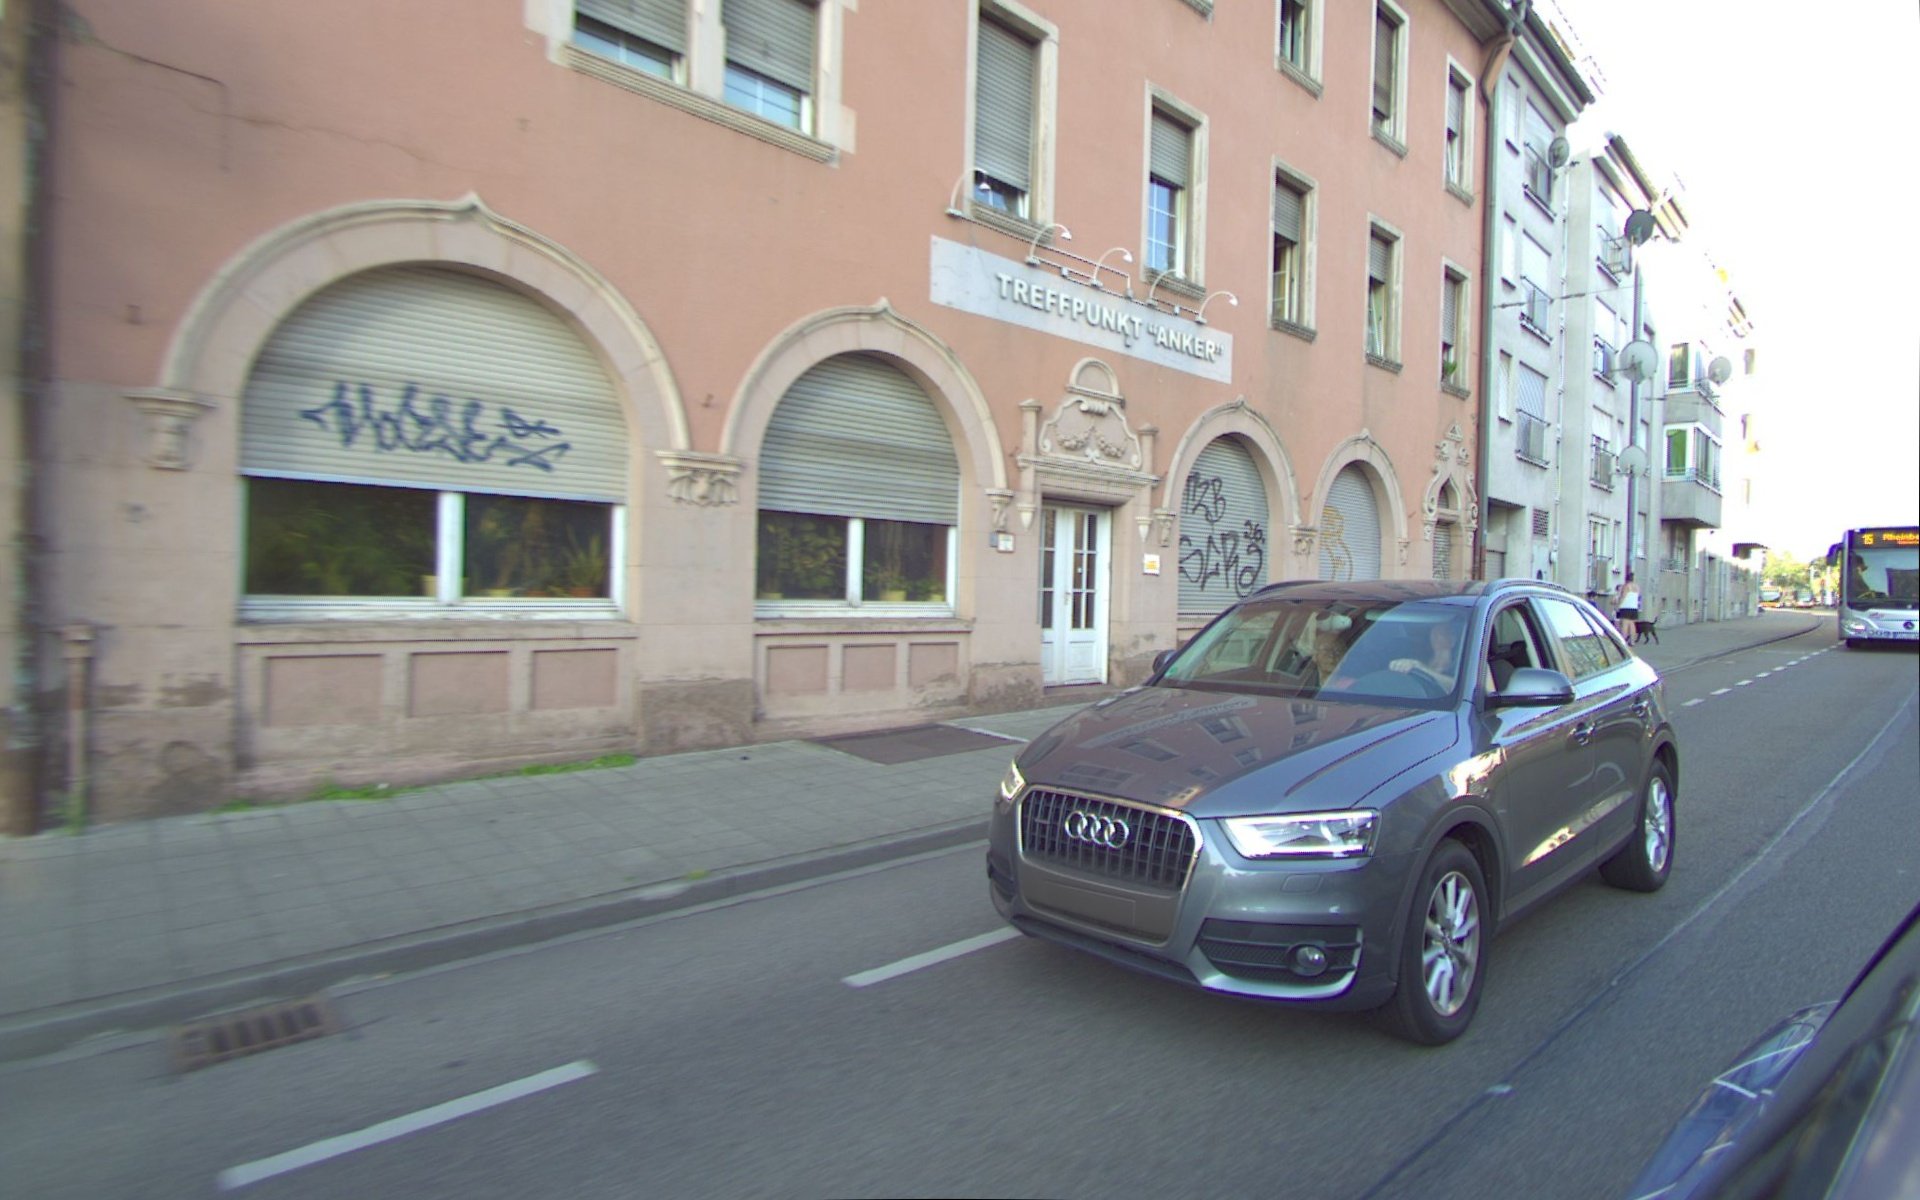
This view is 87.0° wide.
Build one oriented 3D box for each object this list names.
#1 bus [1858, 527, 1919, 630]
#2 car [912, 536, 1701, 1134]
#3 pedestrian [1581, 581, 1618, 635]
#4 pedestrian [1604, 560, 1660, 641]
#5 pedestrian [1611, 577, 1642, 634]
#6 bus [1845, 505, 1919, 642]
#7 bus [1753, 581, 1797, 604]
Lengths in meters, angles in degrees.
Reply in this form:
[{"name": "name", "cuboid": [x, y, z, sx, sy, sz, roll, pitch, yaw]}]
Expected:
[{"name": "bus", "cuboid": [32.455, -0.673, 34.391, 2.704, 3.116, 10.435, 0, 0, 43]}, {"name": "car", "cuboid": [1.883, 0.635, 4.729, 3.998, 1.607, 1.769, 1, 0, -42]}, {"name": "pedestrian", "cuboid": [15.351, 0.178, 24.304, 0.575, 1.266, 0.588, 1, 2, -43]}, {"name": "pedestrian", "cuboid": [15.506, 0.000, 23.343, 0.979, 1.793, 0.831, 0, 2, -43]}, {"name": "pedestrian", "cuboid": [16.579, 0.127, 25.171, 0.514, 1.361, 0.600, 3, 3, 43]}, {"name": "bus", "cuboid": [25.373, -0.610, 26.717, 2.724, 3.116, 10.435, 0, 0, 43]}, {"name": "bus", "cuboid": [107.647, -0.974, 133.854, 3.854, 2.888, 13.648, 0, 0, 36]}]
